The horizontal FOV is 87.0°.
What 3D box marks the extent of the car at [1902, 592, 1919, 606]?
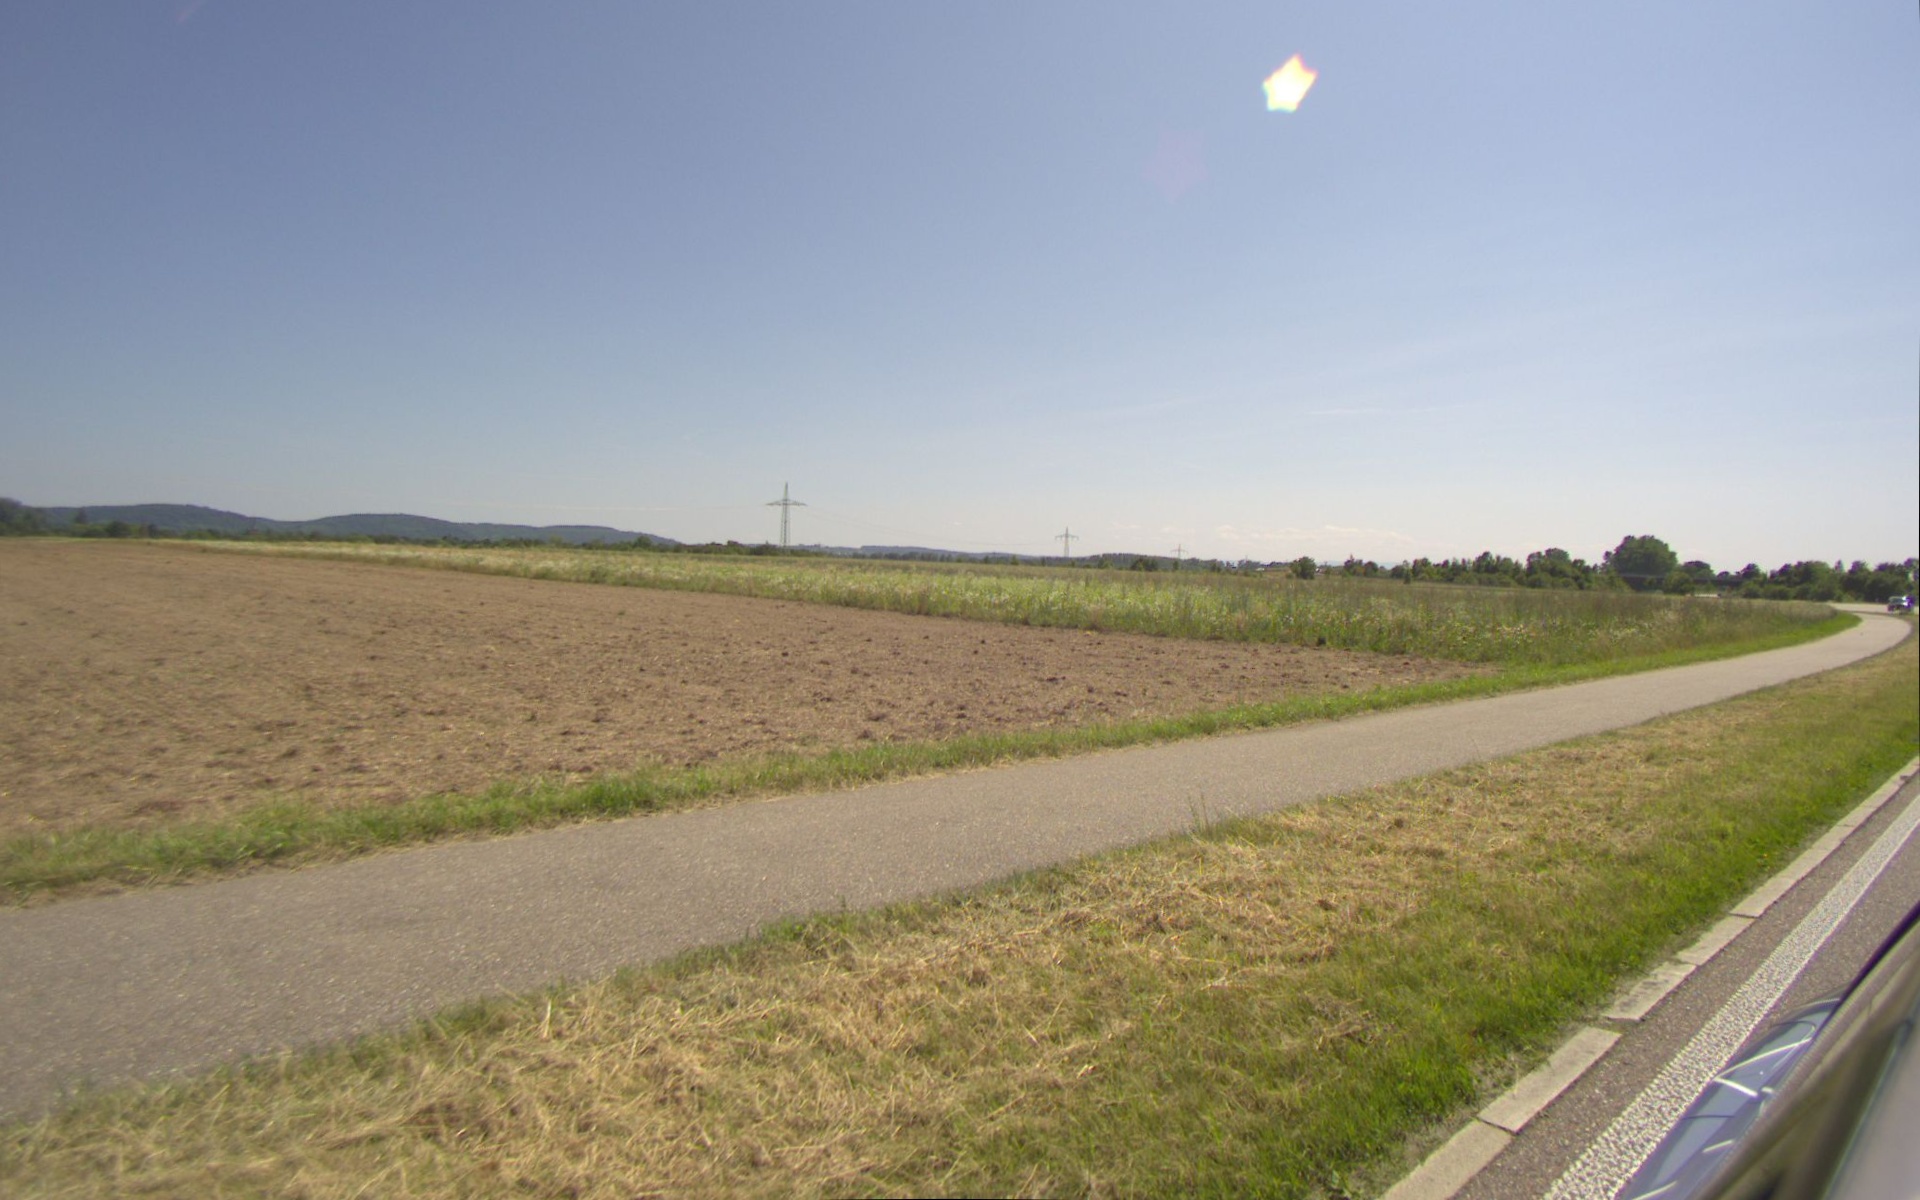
[{"bbox_3d":[114.057,-0.158,120.654,1.973,1.616,5.331,1,1,36],"label":"car"}]
